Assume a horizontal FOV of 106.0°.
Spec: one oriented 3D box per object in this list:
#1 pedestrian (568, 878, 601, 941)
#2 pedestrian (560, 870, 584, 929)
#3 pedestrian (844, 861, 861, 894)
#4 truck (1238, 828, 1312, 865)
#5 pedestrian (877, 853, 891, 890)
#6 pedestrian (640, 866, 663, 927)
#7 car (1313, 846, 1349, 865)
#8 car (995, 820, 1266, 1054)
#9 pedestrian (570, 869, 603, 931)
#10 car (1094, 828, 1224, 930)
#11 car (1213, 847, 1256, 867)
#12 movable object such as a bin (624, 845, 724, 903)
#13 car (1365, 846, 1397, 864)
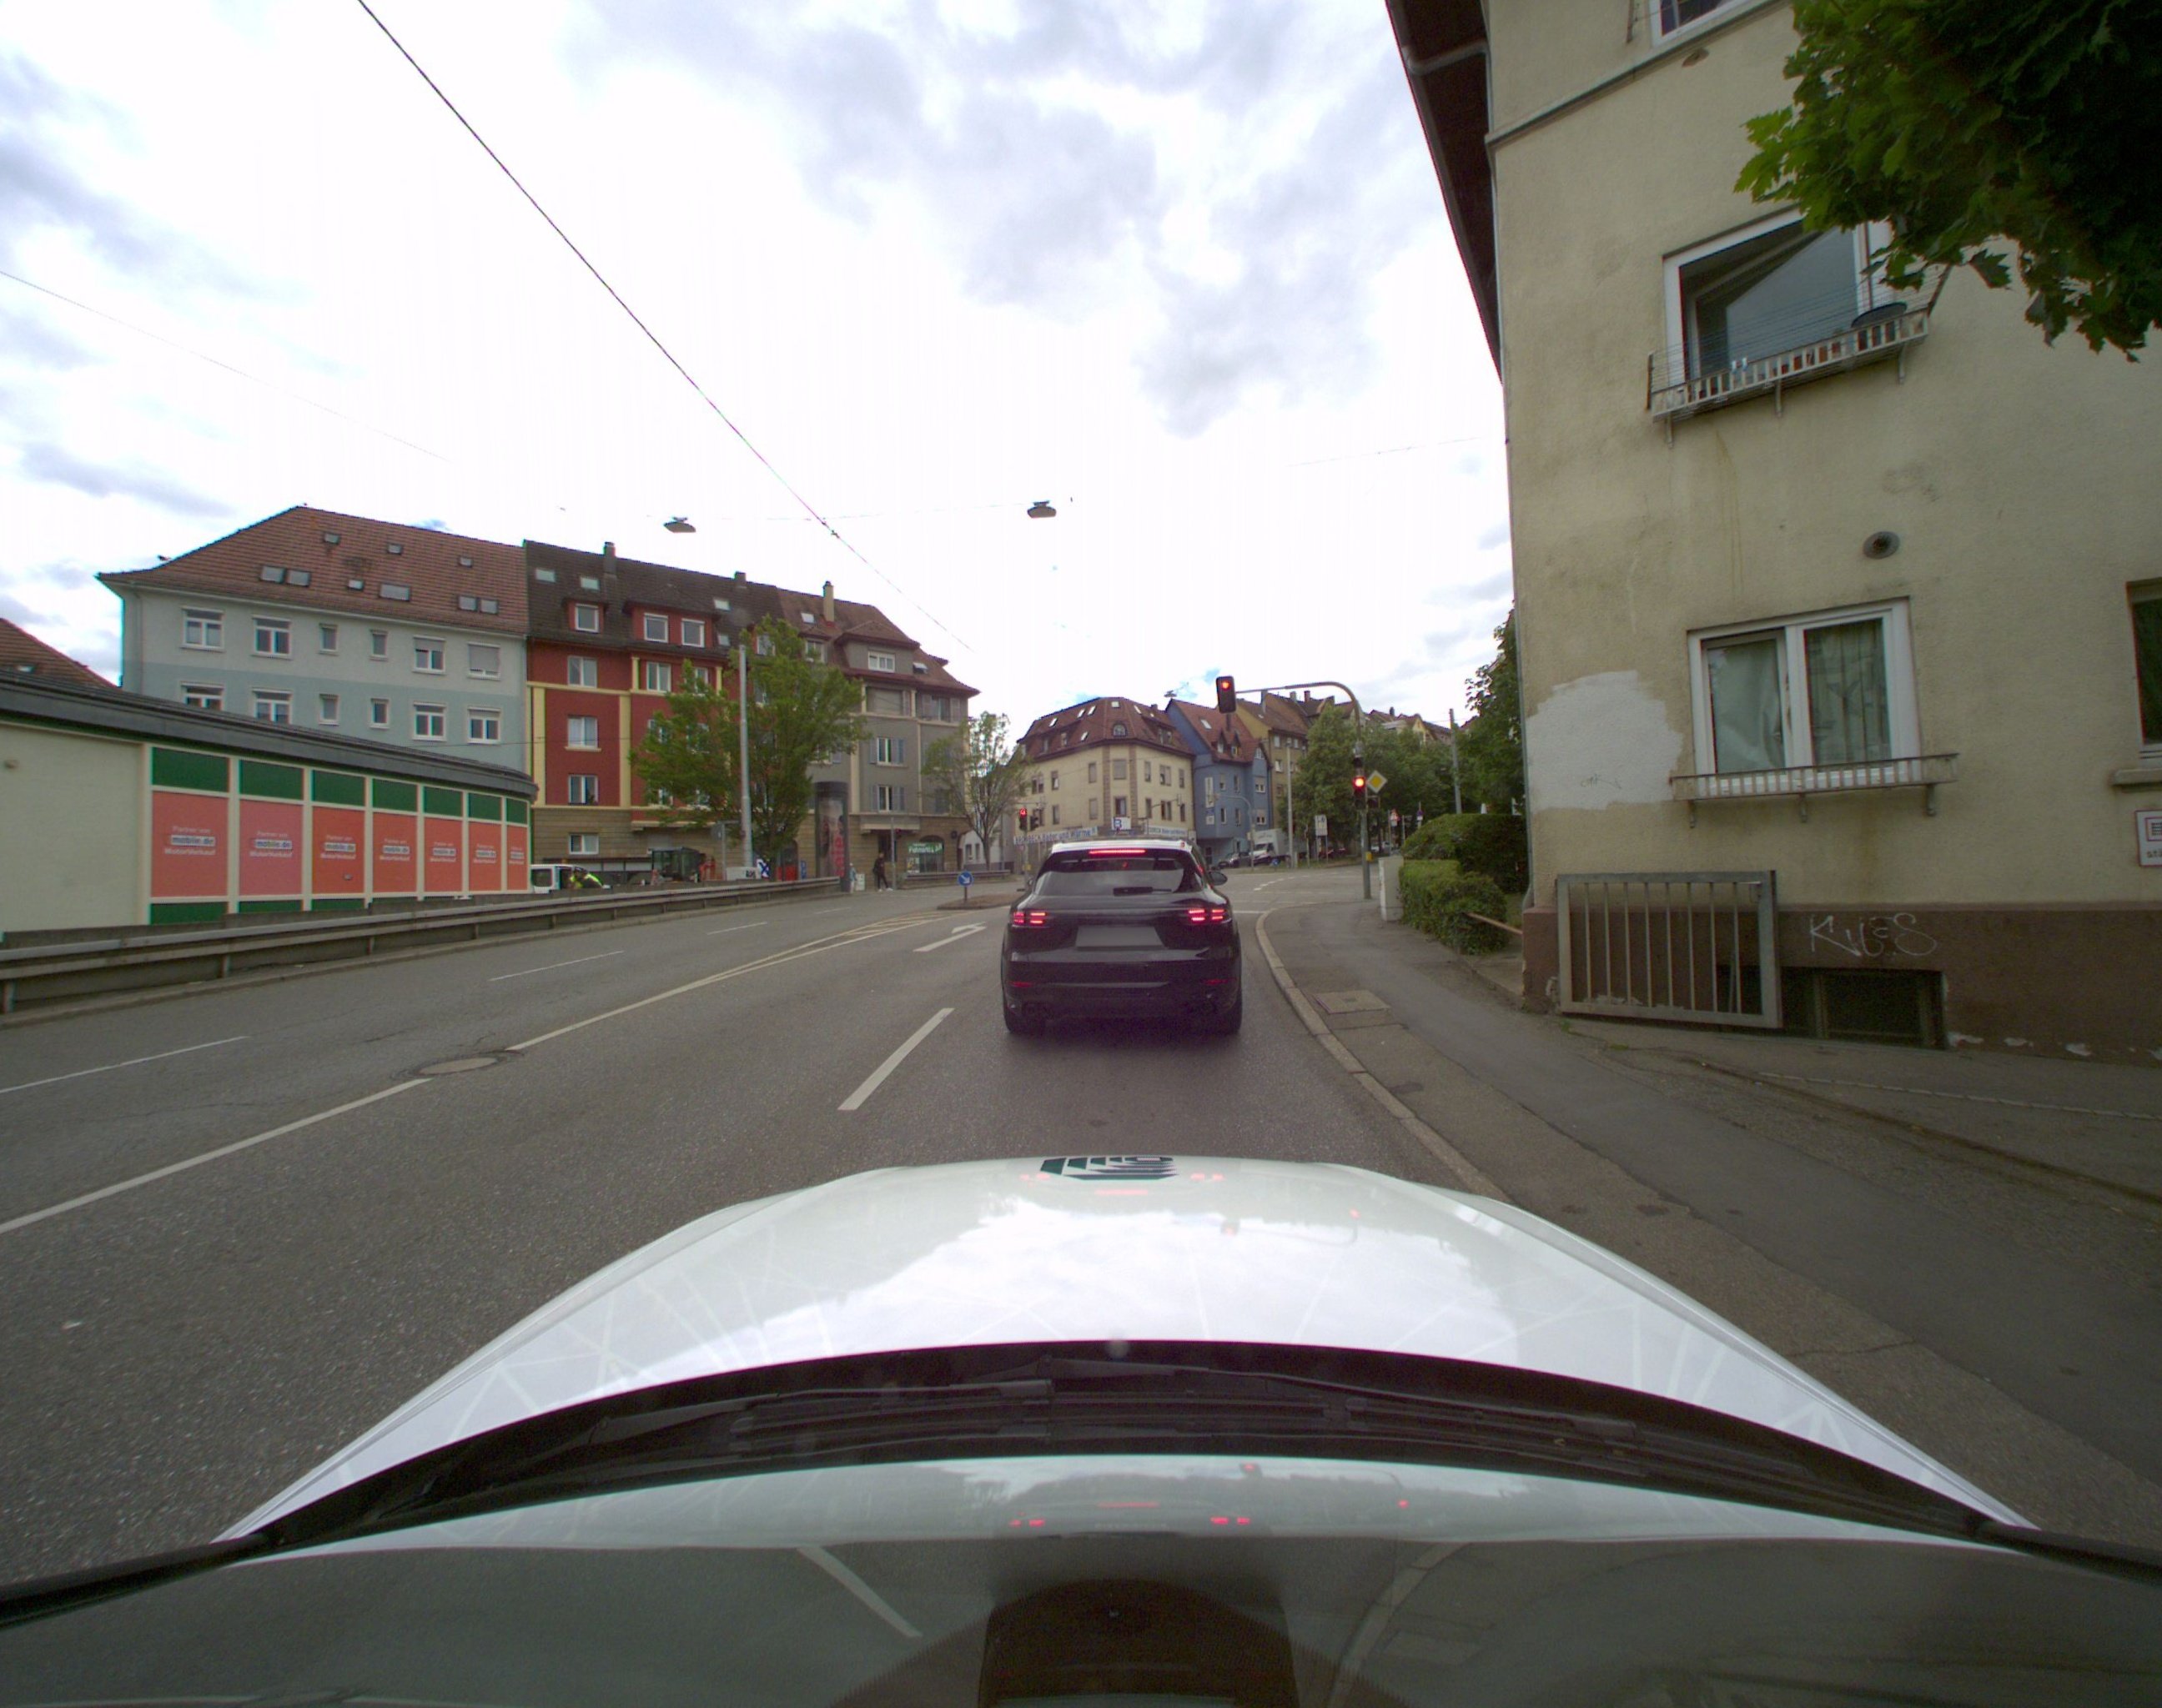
[{"bbox_3d":[-13.638,1.513,22.381,0.562,1.700,0.541,1,-1,-9],"label":"pedestrian"},{"bbox_3d":[-15.155,1.334,24.253,0.479,1.730,0.536,1,-1,-44],"label":"pedestrian"},{"bbox_3d":[-10.835,1.113,38.624,0.587,1.567,0.486,1,-1,1],"label":"pedestrian"},{"bbox_3d":[18.872,-0.669,78.779,2.846,3.340,8.846,0,0,43],"label":"truck"},{"bbox_3d":[-9.256,0.815,38.216,0.511,1.730,0.451,1,-1,4],"label":"pedestrian"},{"bbox_3d":[-12.522,1.225,23.743,0.545,1.730,0.587,1,-1,-32],"label":"pedestrian"},{"bbox_3d":[26.533,0.151,86.328,4.023,2.014,1.975,1,-1,-45],"label":"car"},{"bbox_3d":[0.345,0.592,8.015,1.973,1.684,3.999,-1,0,-1],"label":"car"},{"bbox_3d":[-14.338,1.311,23.611,0.565,1.761,0.622,0,-1,37],"label":"pedestrian"},{"bbox_3d":[1.637,0.430,15.662,1.980,1.684,4.014,-1,0,12],"label":"car"},{"bbox_3d":[13.619,0.232,72.096,1.974,1.684,4.025,-2,-1,39],"label":"car"},{"bbox_3d":[-13.329,0.633,26.928,1.903,1.771,3.984,1,0,-11],"label":"movable object such as a bin"},{"bbox_3d":[34.827,0.109,94.573,4.023,2.014,1.975,1,-1,-45],"label":"car"}]
